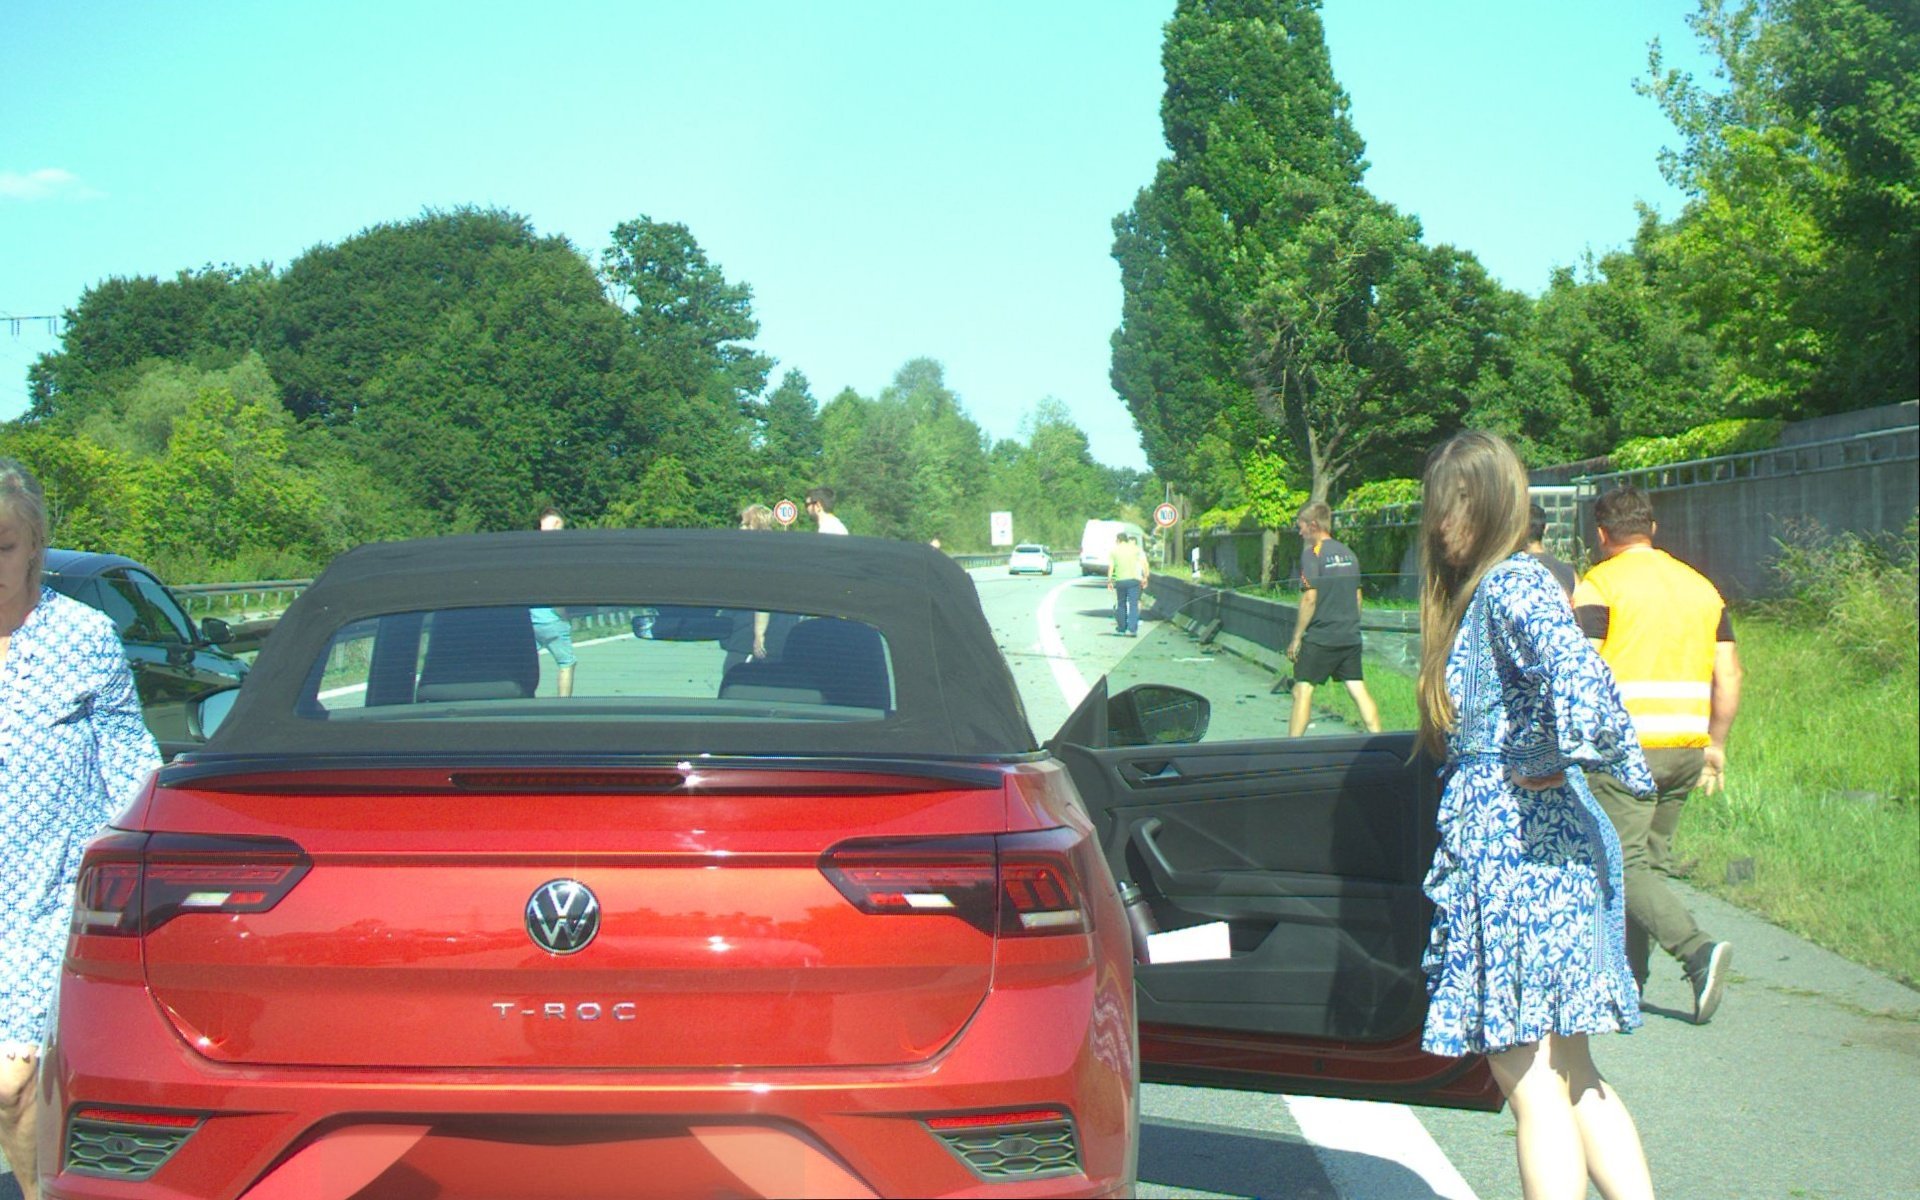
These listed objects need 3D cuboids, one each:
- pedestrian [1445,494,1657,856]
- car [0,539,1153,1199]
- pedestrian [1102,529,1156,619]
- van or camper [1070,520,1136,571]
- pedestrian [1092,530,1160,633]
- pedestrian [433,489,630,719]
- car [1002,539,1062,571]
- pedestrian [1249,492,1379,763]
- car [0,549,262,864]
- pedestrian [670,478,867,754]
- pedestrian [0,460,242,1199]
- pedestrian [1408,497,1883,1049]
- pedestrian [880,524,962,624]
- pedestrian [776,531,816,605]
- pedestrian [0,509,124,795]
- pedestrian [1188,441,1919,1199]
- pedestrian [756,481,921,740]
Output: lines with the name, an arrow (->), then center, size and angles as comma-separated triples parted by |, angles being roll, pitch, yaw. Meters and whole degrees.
pedestrian -> 2.878, 0.354, 16.808 | 0.894, 1.719, 0.754 | 0, 0, 0
car -> -0.597, 0.624, 7.060 | 1.732, 1.482, 4.210 | 0, 1, 0
pedestrian -> 3.210, -0.502, 65.266 | 0.996, 1.683, 1.010 | 1, 0, 3
van or camper -> 6.640, -2.508, 159.003 | 1.995, 2.308, 4.467 | 1, 1, 17
pedestrian -> 2.759, -0.313, 57.031 | 1.056, 1.683, 1.017 | 1, 1, 7
pedestrian -> -3.404, 0.022, 27.327 | 1.107, 1.782, 1.089 | 1, 1, 44
car -> 3.358, -2.106, 160.305 | 1.734, 1.482, 4.207 | 1, 1, 16
pedestrian -> 2.352, 0.171, 22.788 | 0.812, 1.753, 0.828 | 1, 0, 8
car -> -4.949, 0.460, 18.043 | 1.694, 1.421, 4.334 | 0, 1, 0
pedestrian -> -1.327, 0.104, 24.032 | 1.066, 1.876, 1.093 | -1, 1, 14
pedestrian -> -1.851, 0.591, 6.447 | 0.839, 1.677, 0.744 | -1, 1, -1
pedestrian -> 2.187, 0.510, 11.120 | 0.957, 1.648, 1.278 | -2, 1, -20
pedestrian -> -0.666, -0.440, 58.677 | 1.115, 1.683, 0.972 | 1, 1, 20
pedestrian -> -3.787, -0.744, 79.441 | 0.791, 1.683, 0.792 | 1, 0, 5
pedestrian -> -6.004, 0.318, 21.835 | 1.041, 1.757, 1.118 | -1, 1, 3
pedestrian -> 1.054, 0.578, 6.242 | 1.124, 1.689, 0.893 | -1, 1, -5
pedestrian -> -0.941, 0.065, 26.267 | 1.105, 1.906, 1.257 | -1, 1, -8
